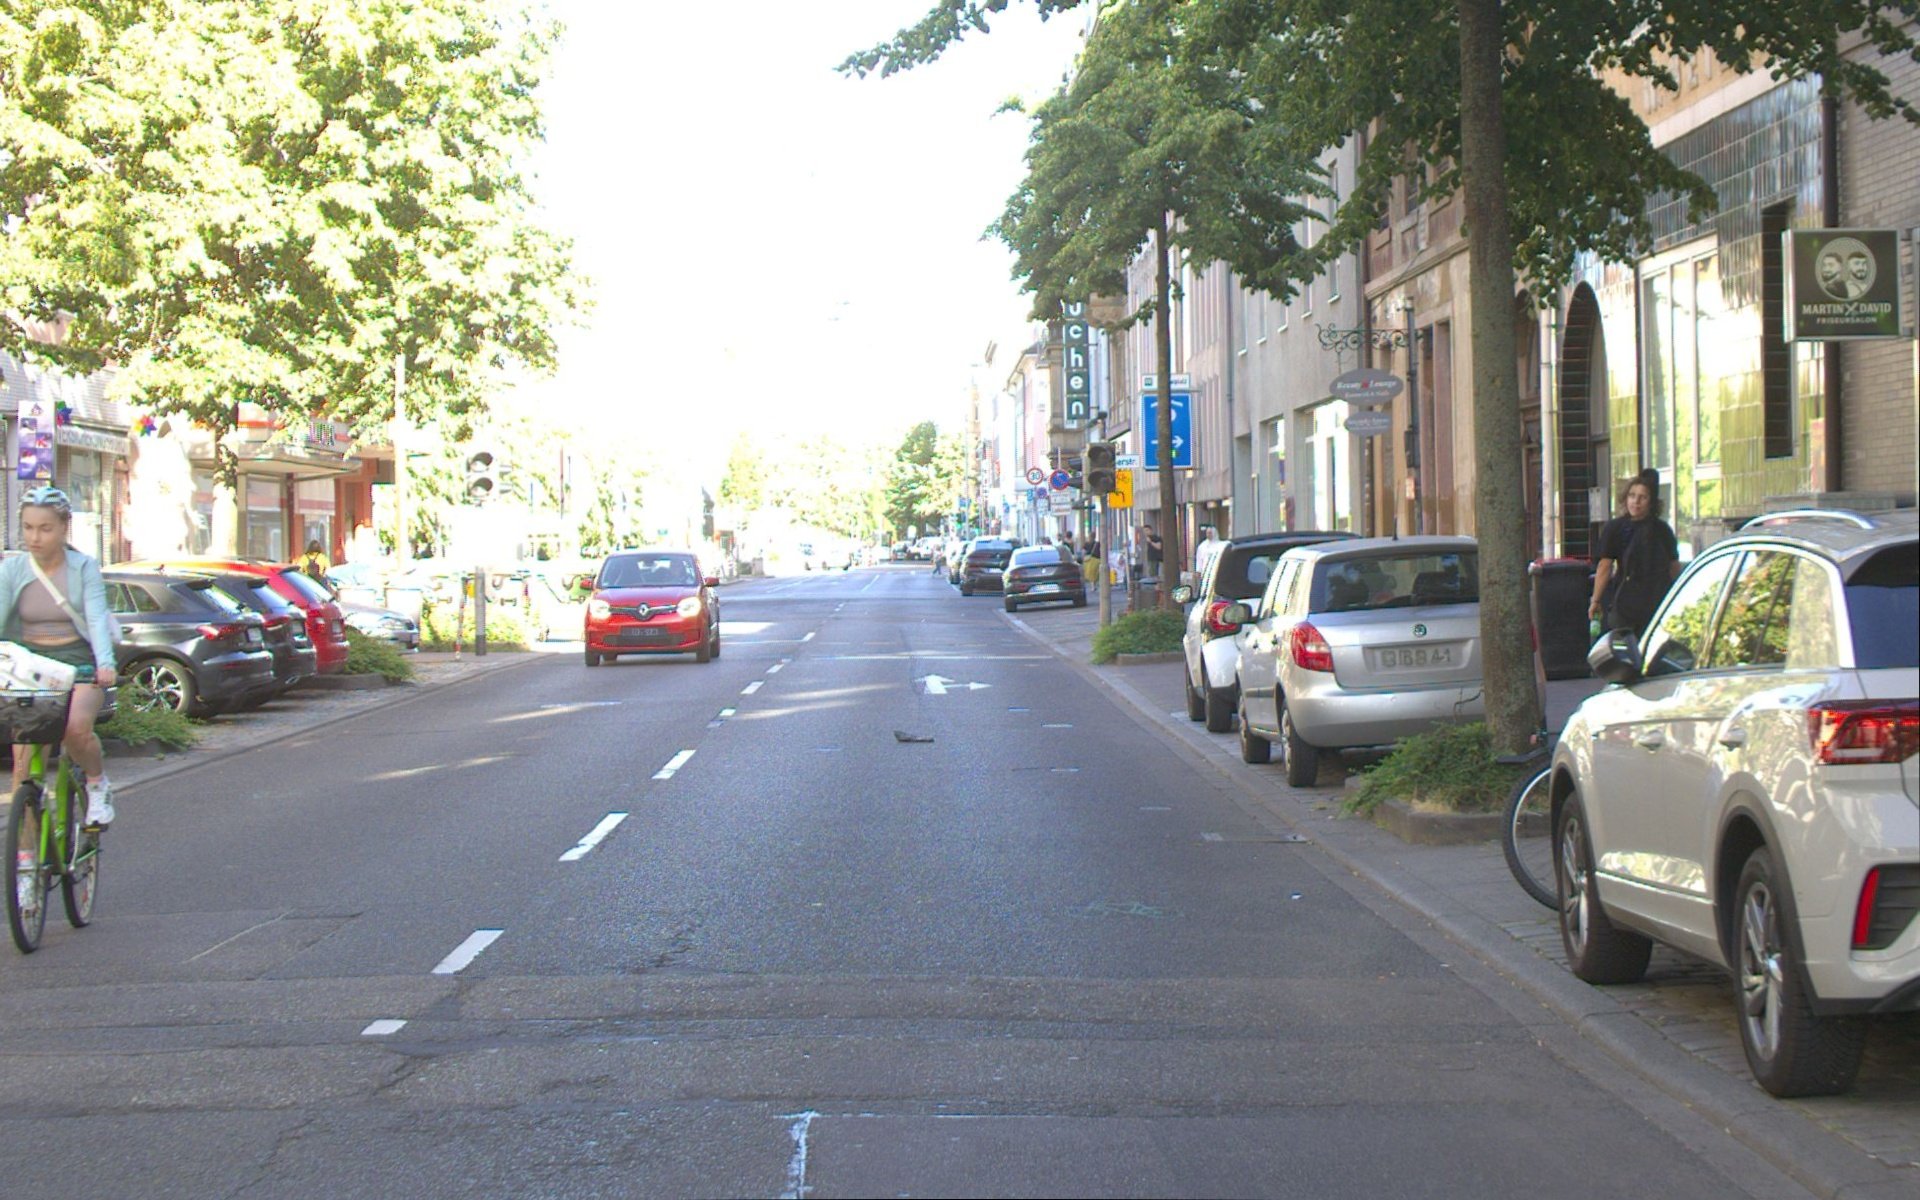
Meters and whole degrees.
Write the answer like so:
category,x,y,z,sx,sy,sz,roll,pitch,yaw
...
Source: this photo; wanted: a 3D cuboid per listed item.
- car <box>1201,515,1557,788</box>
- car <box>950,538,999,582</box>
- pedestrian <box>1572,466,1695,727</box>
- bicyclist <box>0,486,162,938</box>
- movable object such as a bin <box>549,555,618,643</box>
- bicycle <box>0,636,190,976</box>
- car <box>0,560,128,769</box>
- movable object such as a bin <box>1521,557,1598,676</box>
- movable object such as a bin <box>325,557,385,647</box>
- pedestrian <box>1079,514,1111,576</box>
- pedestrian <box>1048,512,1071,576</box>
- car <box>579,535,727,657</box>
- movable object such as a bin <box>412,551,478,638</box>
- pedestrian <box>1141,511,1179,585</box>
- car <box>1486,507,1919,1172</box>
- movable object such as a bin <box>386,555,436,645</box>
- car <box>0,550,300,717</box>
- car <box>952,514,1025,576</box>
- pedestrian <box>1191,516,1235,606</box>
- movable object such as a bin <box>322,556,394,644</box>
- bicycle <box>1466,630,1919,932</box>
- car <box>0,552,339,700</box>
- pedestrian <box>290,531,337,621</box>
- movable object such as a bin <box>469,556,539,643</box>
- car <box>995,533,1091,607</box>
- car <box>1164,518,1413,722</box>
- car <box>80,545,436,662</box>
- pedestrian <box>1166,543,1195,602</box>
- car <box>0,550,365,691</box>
category,x,y,z,sx,sy,sz,roll,pitch,yaw
car,2.648,0.266,22.624,1.613,1.523,4.235,-4,1,-2
car,0.544,-1.548,133.929,1.716,1.630,4.085,1,0,-2
pedestrian,4.685,-0.028,23.938,0.623,1.759,0.771,-3,1,0
bicyclist,-3.668,0.411,13.566,0.725,1.694,1.282,-1,1,0
movable object such as a bin,-6.458,-0.021,59.070,1.042,1.466,1.453,-1,1,-2
bicycle,-3.663,0.766,13.627,0.725,1.165,2.197,-1,1,0
car,-8.534,0.416,25.104,4.492,1.454,1.790,1,1,-2
movable object such as a bin,5.407,0.143,31.022,0.522,1.036,0.722,-3,1,0
movable object such as a bin,-9.121,0.026,51.843,0.754,1.336,0.805,-1,1,-2
pedestrian,3.739,-1.516,95.117,0.801,1.669,0.589,-2,1,2
pedestrian,2.768,-1.553,95.298,0.620,1.760,0.518,-1,1,2
car,-4.122,-0.088,46.590,1.658,1.530,3.761,-2,1,-1
movable object such as a bin,-8.833,-0.099,58.993,0.964,1.466,1.143,-1,1,-2
pedestrian,4.482,-1.171,77.198,0.691,1.630,0.889,-3,1,-1
car,2.917,0.499,10.235,1.883,1.521,4.234,-3,1,-1
movable object such as a bin,-8.286,-0.006,51.914,0.634,1.336,0.805,-1,1,-2
car,-8.219,0.287,31.680,3.919,1.480,1.771,0,1,1
car,0.790,-1.581,97.839,1.973,1.719,4.824,1,1,-1
pedestrian,4.501,-0.690,61.150,0.580,1.554,1.021,-4,1,-2
movable object such as a bin,-10.326,-0.010,58.974,1.042,1.466,1.143,-1,1,-2
bicycle,2.907,0.703,13.611,1.622,1.009,0.611,-5,1,-2
car,-8.294,0.242,34.320,3.841,1.424,1.789,0,1,1
pedestrian,-12.075,-0.454,64.232,0.665,1.653,1.037,-1,1,-1
movable object such as a bin,-7.813,-0.015,58.966,1.042,1.466,1.143,-1,1,-2
car,1.854,-0.712,78.260,1.917,1.473,4.965,-4,1,0
car,2.652,0.132,28.357,1.613,1.523,3.061,-3,1,-2
car,-8.971,0.026,44.149,4.203,1.463,1.739,0,1,2
pedestrian,3.931,-0.491,61.272,0.393,1.030,0.740,-4,1,-2
car,-8.390,0.200,36.855,3.748,1.463,1.740,0,1,-1
